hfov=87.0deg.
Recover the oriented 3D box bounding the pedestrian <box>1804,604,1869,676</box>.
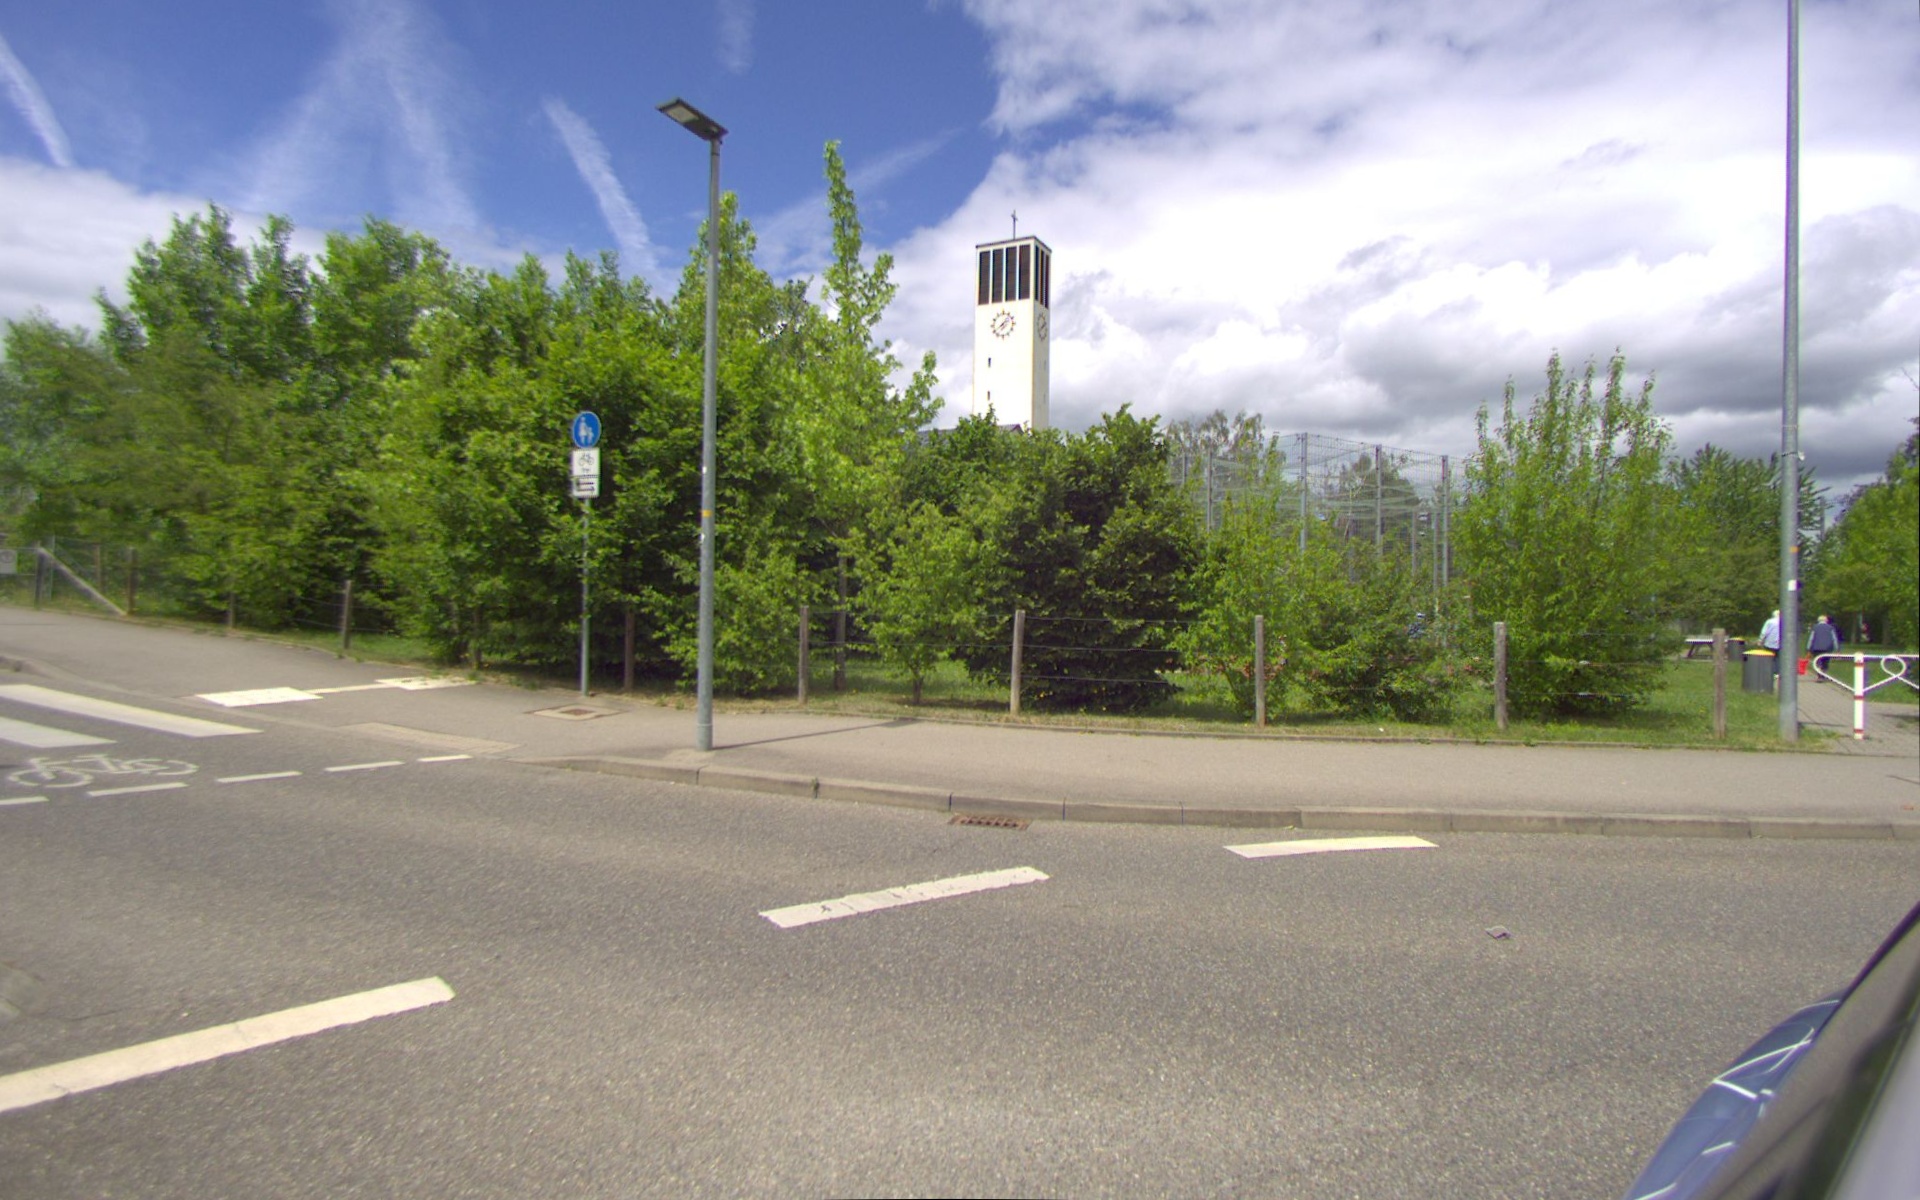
[{"bbox_3d":[21.268,0.958,24.573,0.885,1.715,0.924,-1,-2,22],"label":"pedestrian"}]

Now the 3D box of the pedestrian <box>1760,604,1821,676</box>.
[{"bbox_3d":[20.410,0.970,24.888,0.885,1.715,0.924,-1,-2,22],"label":"pedestrian"}]

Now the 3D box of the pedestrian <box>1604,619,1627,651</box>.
[{"bbox_3d":[26.628,1.415,41.121,0.784,1.249,0.565,1,0,-39],"label":"pedestrian"}]
